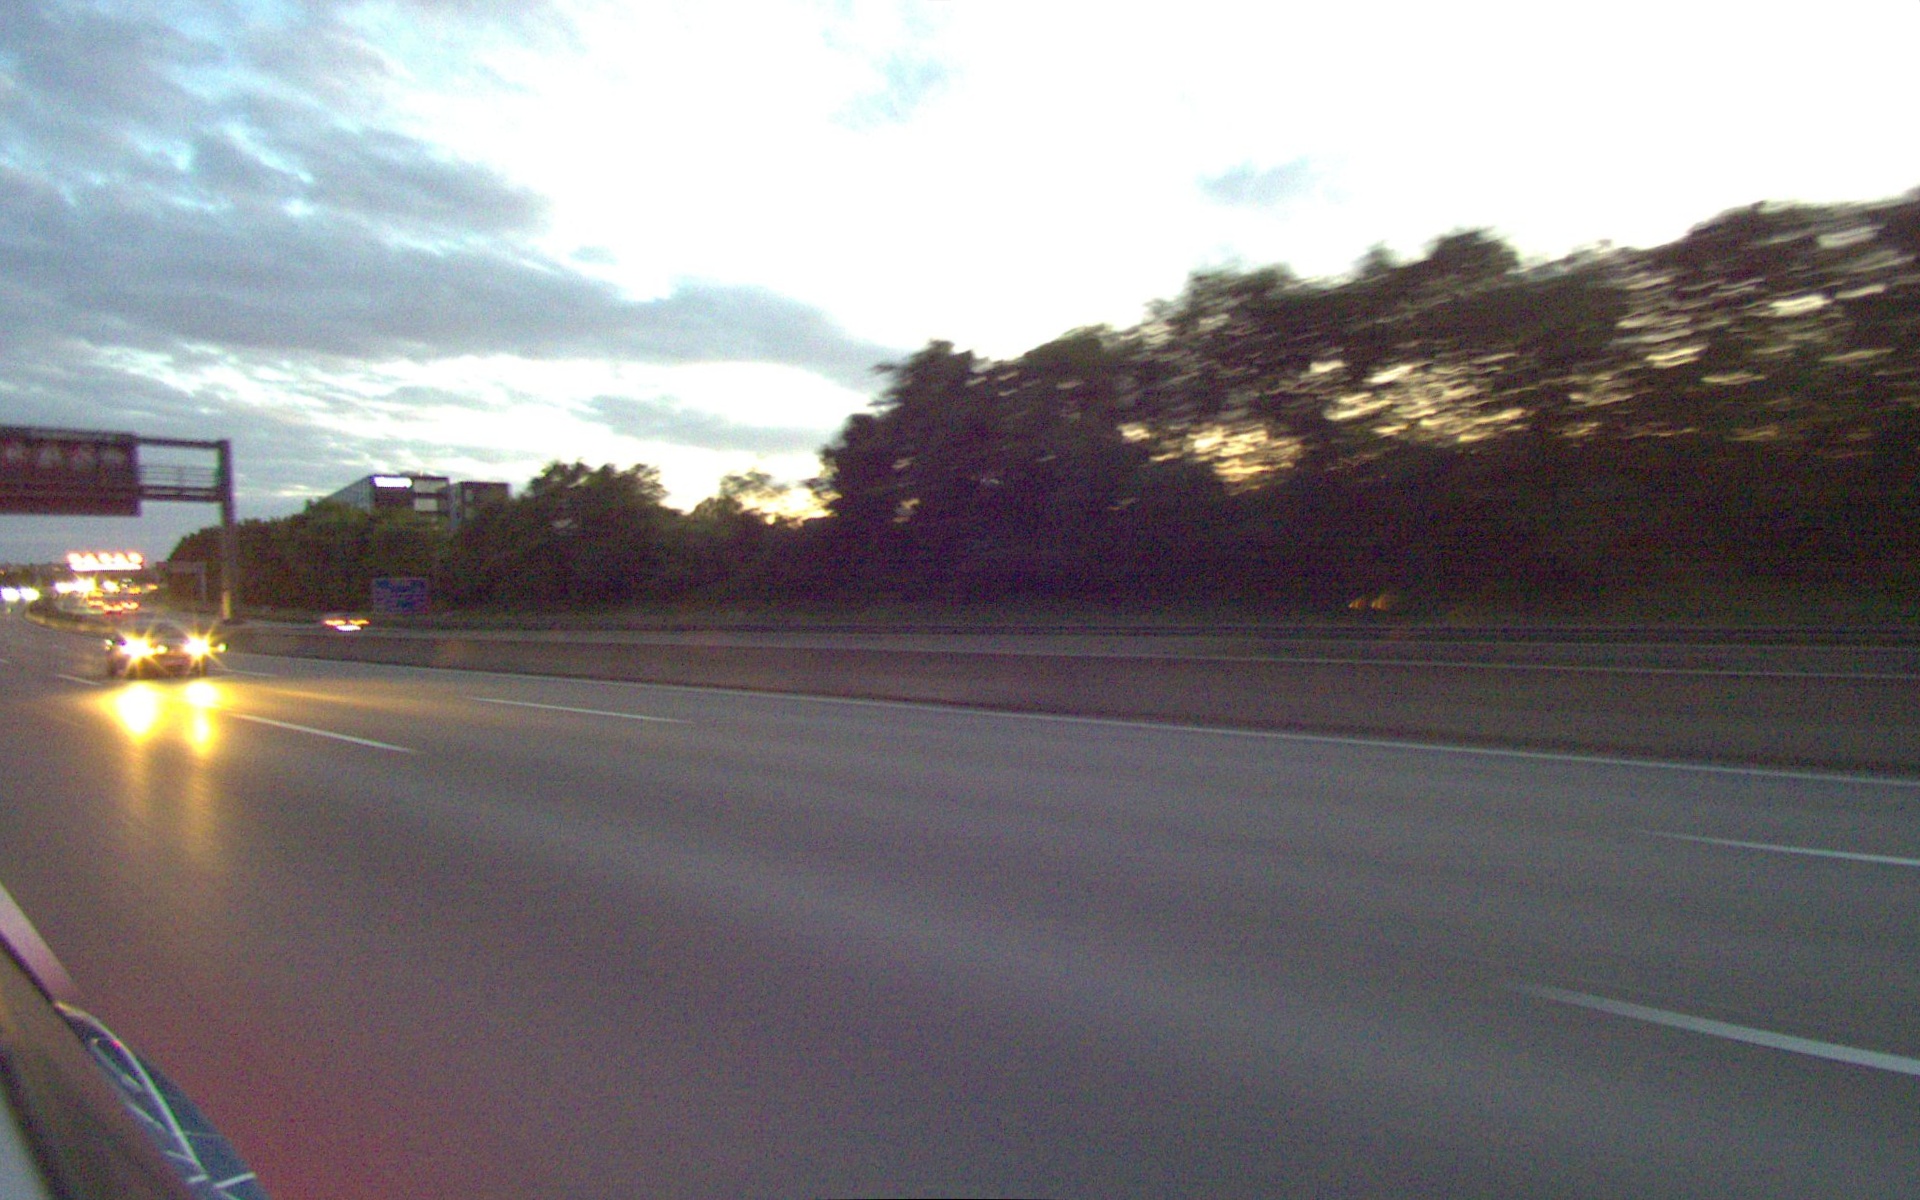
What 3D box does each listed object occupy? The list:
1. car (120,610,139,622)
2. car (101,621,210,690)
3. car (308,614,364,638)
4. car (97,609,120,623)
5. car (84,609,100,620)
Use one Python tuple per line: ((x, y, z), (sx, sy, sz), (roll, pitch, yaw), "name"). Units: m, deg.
((-143.930, 2.812, 175.410), (5.060, 1.907, 1.971), (1, 2, 44), "car")
((-21.297, 1.397, 26.745), (4.001, 1.491, 1.694), (1, 2, 43), "car")
((-40.151, 1.642, 65.058), (4.151, 1.430, 1.972), (-1, 1, 42), "car")
((-126.972, 2.412, 150.885), (4.679, 1.907, 1.972), (1, 2, 42), "car")
((-159.809, 2.638, 186.304), (5.060, 1.907, 1.854), (1, 2, 44), "car")
